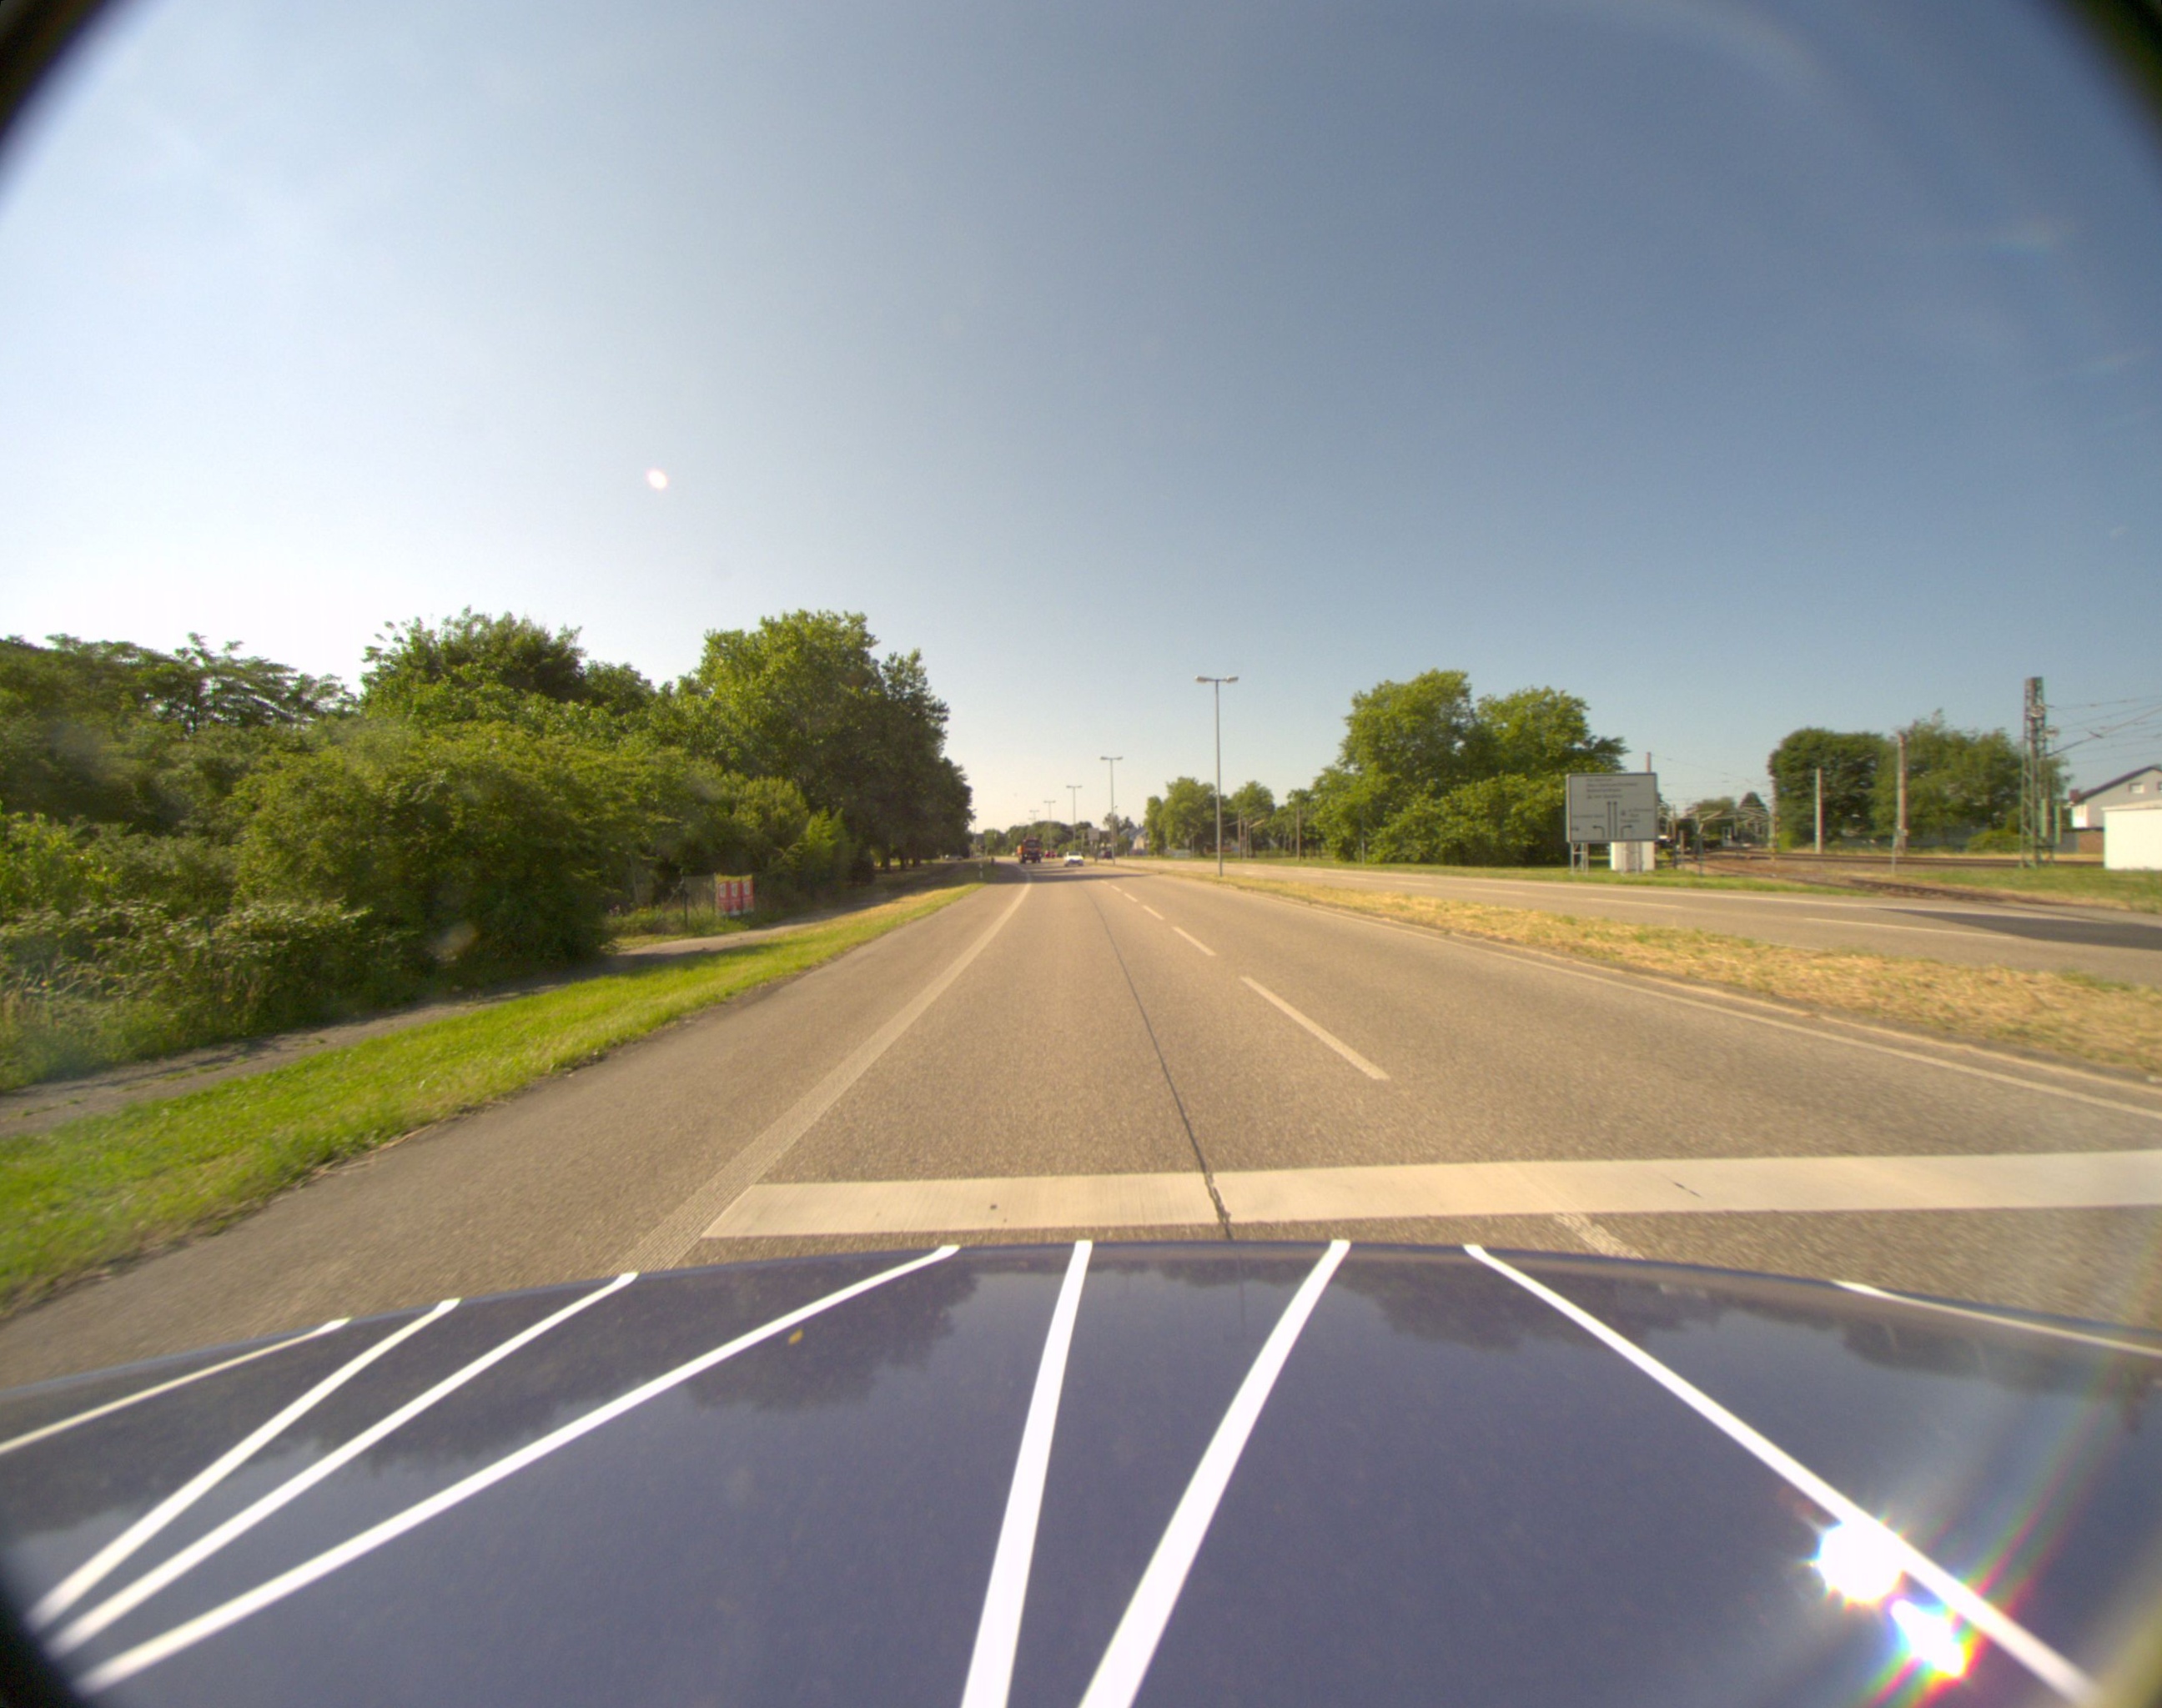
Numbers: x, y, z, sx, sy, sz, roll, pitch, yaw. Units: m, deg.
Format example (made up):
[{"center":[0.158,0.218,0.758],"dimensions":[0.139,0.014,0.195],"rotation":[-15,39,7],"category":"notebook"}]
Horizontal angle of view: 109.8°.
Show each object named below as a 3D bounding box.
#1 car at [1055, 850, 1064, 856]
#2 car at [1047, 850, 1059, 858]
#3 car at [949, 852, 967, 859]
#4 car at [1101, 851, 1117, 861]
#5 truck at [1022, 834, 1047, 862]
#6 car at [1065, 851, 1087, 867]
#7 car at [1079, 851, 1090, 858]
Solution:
[{"center":[-5.574,-0.227,199.812],"dimensions":[1.868,1.536,4.402],"rotation":[0,0,-9],"category":"car"},{"center":[-5.908,-0.004,157.524],"dimensions":[1.988,1.740,4.504],"rotation":[-1,0,-8],"category":"car"},{"center":[-28.269,0.276,174.997],"dimensions":[4.065,1.555,1.741],"rotation":[-1,1,-9],"category":"car"},{"center":[4.963,0.302,133.909],"dimensions":[1.988,1.650,4.551],"rotation":[-1,0,-8],"category":"car"},{"center":[-6.723,-0.909,109.332],"dimensions":[2.943,3.852,6.585],"rotation":[-1,0,-9],"category":"truck"},{"center":[-0.516,0.507,78.464],"dimensions":[1.870,1.499,4.334],"rotation":[-2,1,-5],"category":"car"},{"center":[0.669,0.019,163.987],"dimensions":[1.836,1.457,4.466],"rotation":[-1,0,-6],"category":"car"}]
